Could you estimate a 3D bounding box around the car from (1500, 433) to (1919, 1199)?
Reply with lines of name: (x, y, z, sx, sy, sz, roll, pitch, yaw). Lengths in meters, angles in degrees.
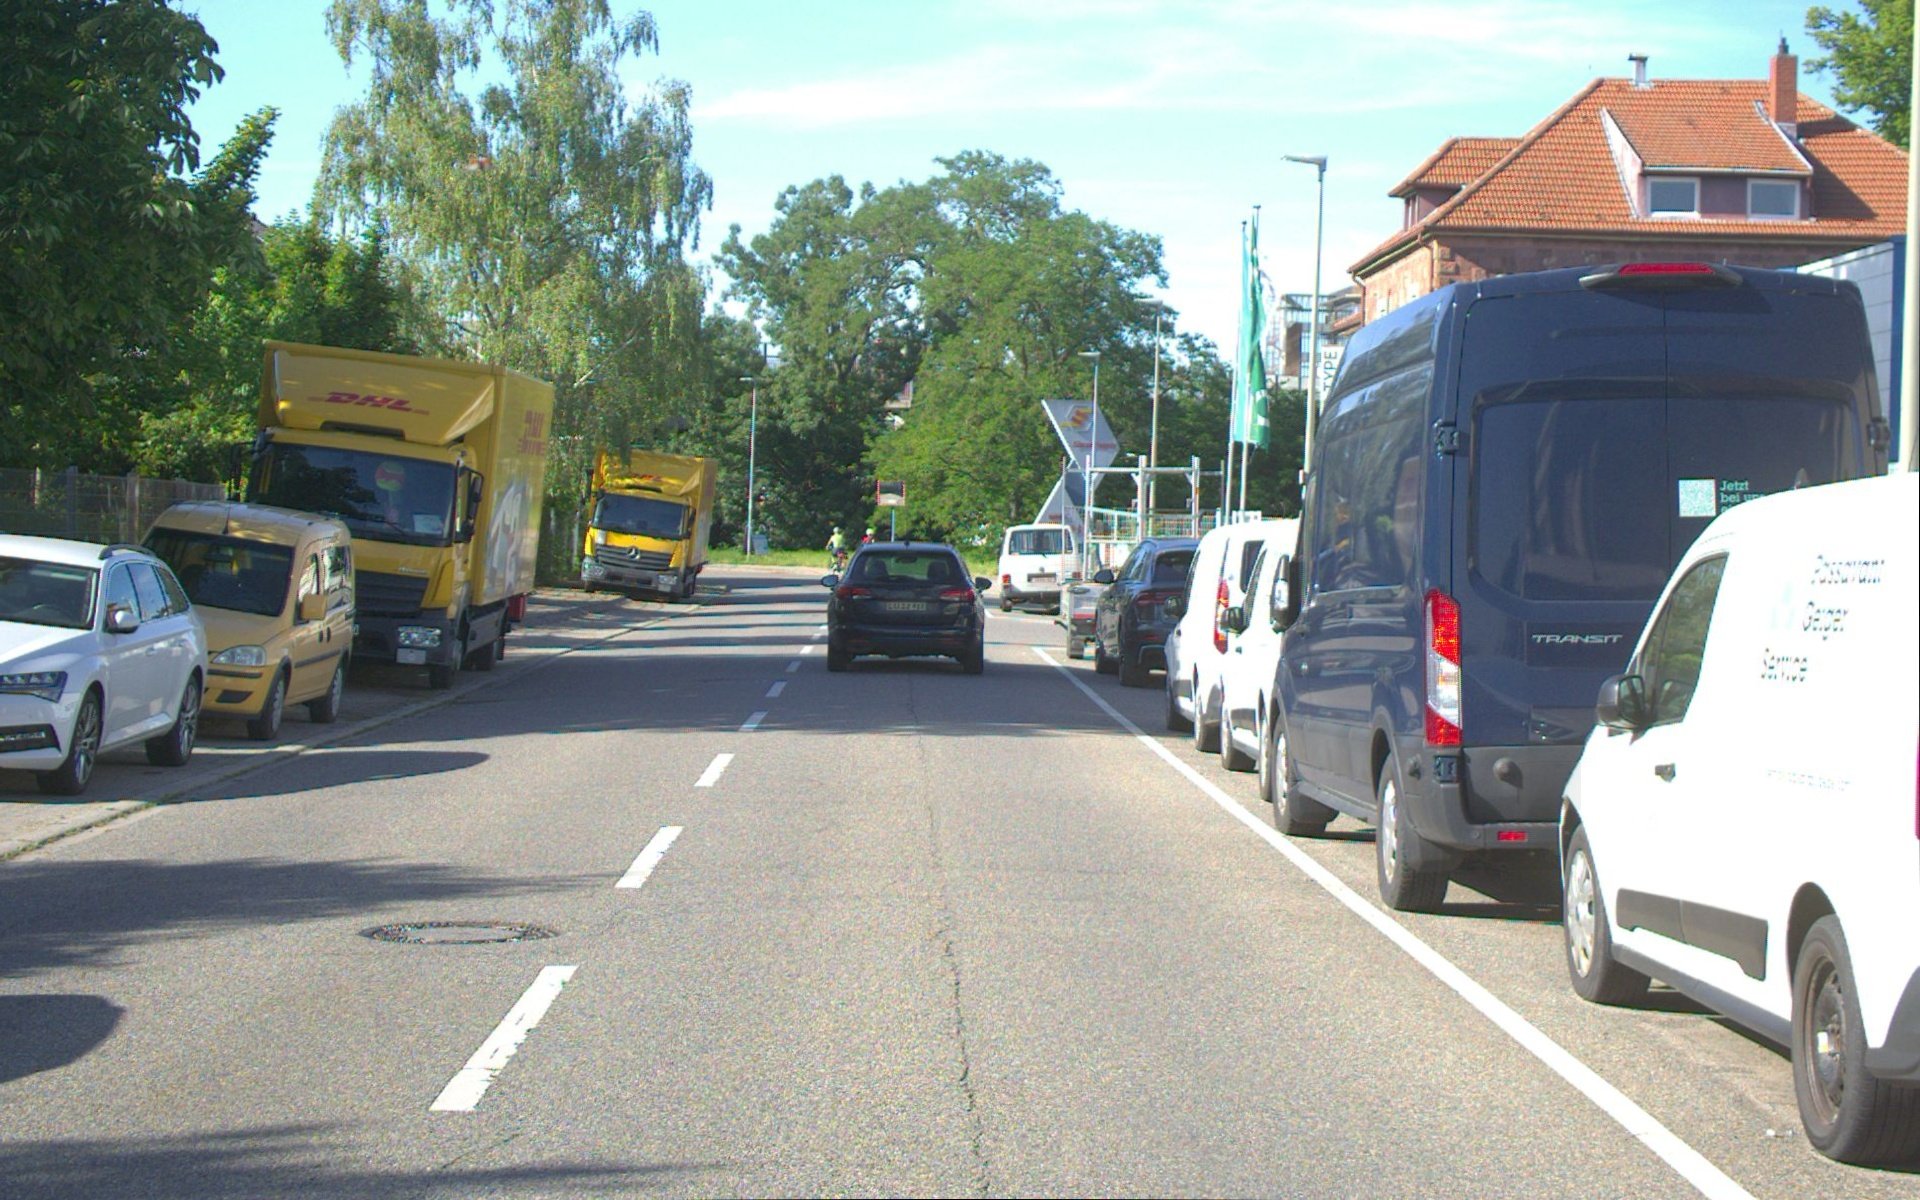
car: (3.090, 0.517, 10.383, 1.885, 1.791, 5.104, 3, 1, -2)

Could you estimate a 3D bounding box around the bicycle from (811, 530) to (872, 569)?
bicycle: (-4.084, -1.744, 118.467, 0.804, 1.217, 2.258, 2, 1, -40)

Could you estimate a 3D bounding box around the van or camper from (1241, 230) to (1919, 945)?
van or camper: (2.803, -0.092, 16.814, 2.141, 2.750, 6.162, 3, 1, -1)

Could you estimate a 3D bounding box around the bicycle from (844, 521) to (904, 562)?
bicycle: (-2.873, -1.962, 114.700, 0.803, 1.263, 2.258, 3, 1, -35)

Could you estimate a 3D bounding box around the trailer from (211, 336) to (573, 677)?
trailer: (-6.283, -1.036, 39.339, 2.991, 3.431, 8.162, 1, 1, -2)

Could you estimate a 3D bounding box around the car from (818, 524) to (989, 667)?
car: (-0.620, -0.092, 39.618, 1.847, 1.525, 4.000, 1, 1, 0)

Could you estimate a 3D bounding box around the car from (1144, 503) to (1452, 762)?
car: (2.642, 0.204, 28.056, 1.855, 1.824, 5.168, 3, 1, -1)

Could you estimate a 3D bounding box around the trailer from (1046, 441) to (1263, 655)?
trailer: (2.544, -0.715, 46.512, 2.460, 2.663, 5.702, 1, 1, -1)

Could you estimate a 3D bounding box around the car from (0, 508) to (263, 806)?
car: (-6.099, 0.263, 22.524, 1.908, 1.587, 5.025, 6, 1, 0)

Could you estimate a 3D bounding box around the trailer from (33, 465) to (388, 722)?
trailer: (-6.090, -0.087, 28.446, 1.993, 1.935, 4.415, 1, 1, -1)

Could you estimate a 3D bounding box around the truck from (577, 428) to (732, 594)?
truck: (-7.272, -2.200, 82.923, 2.631, 3.493, 8.658, 7, 2, -1)

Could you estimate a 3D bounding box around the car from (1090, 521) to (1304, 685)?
car: (2.642, -0.004, 39.374, 1.994, 1.661, 4.732, 3, 1, -1)

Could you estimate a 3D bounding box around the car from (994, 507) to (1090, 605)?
car: (1.797, -0.985, 76.884, 1.874, 2.007, 5.161, 3, 1, 0)

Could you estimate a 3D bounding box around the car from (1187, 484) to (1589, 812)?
car: (2.689, 0.250, 22.813, 1.886, 1.840, 5.104, 3, 1, -1)
